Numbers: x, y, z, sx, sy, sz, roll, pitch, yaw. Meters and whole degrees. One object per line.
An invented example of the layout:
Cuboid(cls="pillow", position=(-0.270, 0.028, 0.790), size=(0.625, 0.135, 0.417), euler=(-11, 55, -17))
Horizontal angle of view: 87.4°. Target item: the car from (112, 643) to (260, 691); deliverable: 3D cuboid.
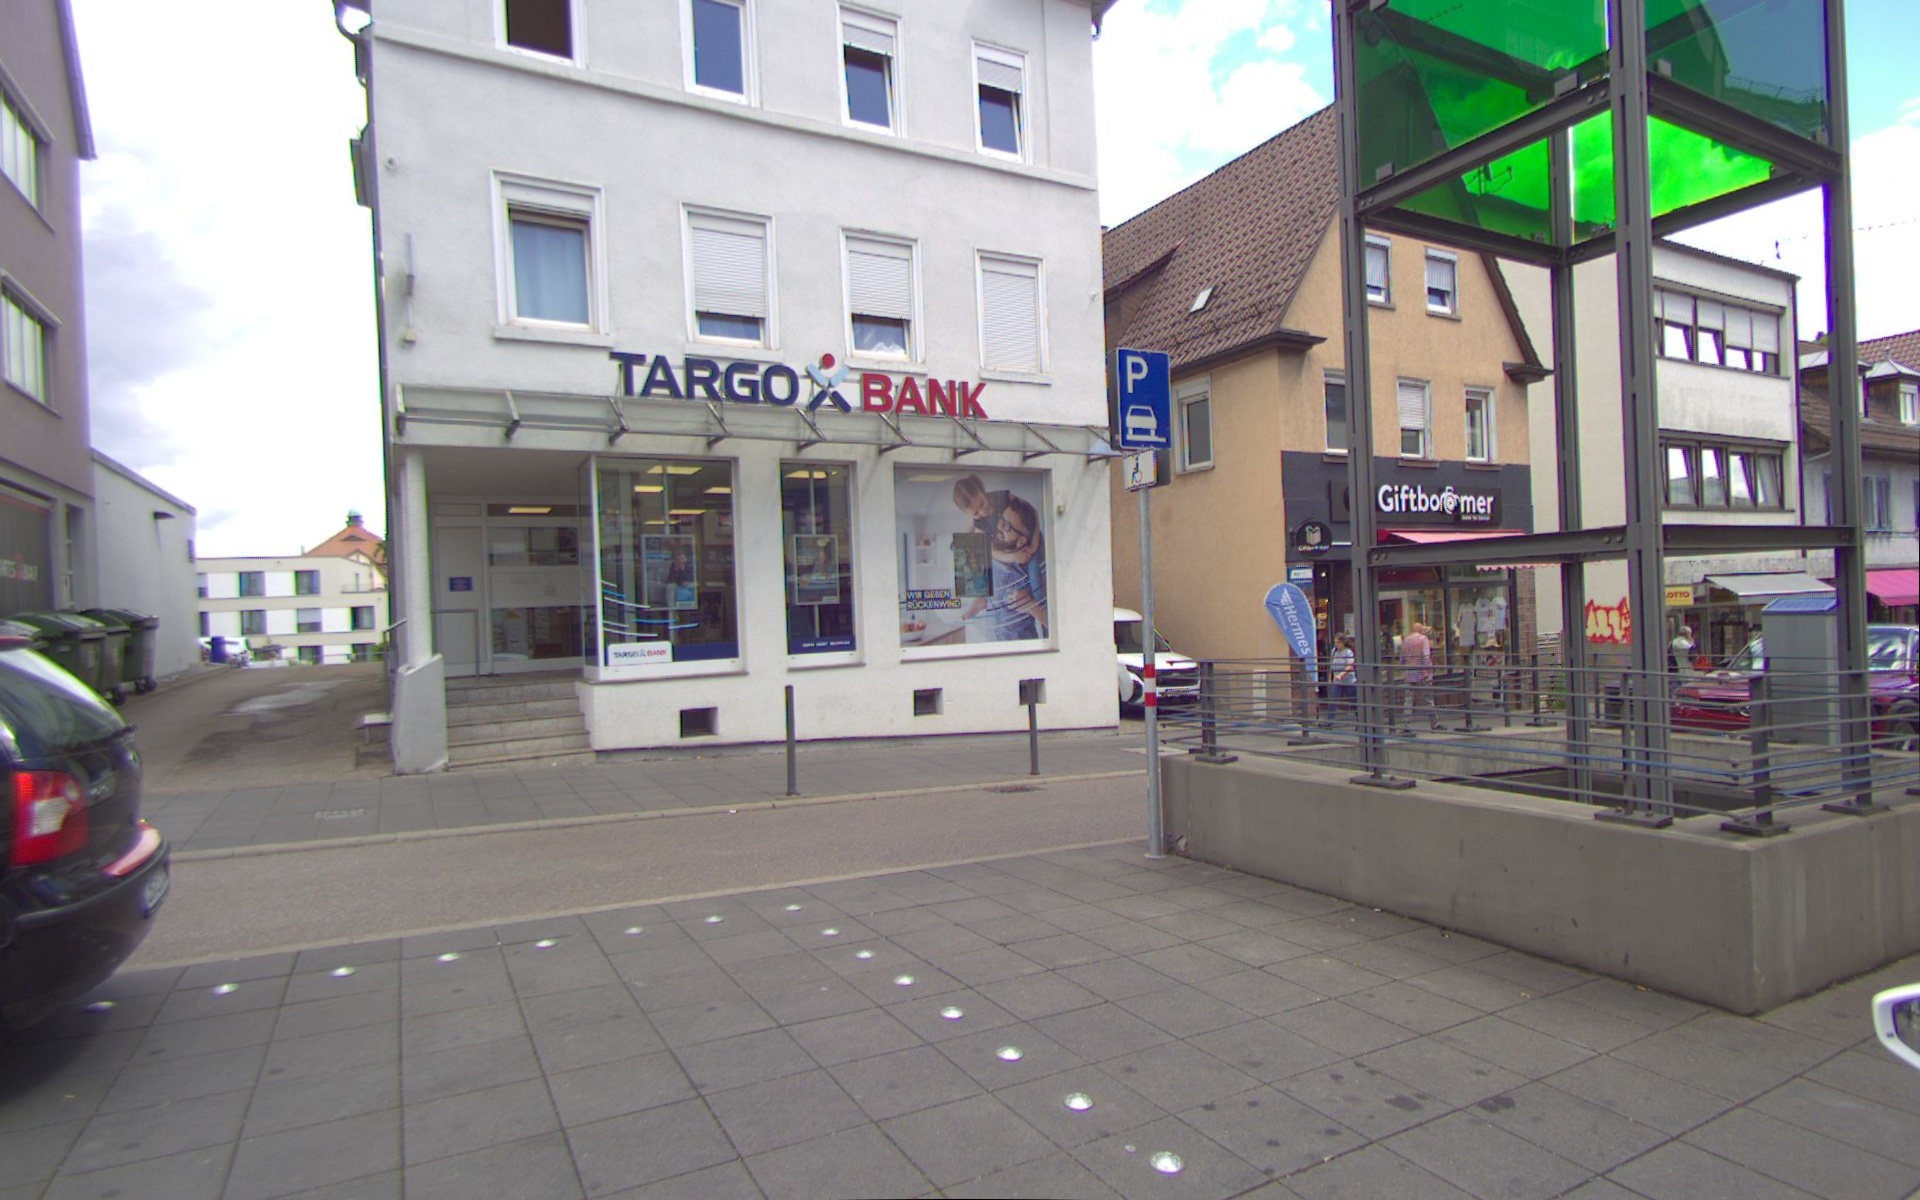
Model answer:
Cuboid(cls="car", position=(-29.162, 2.486, 38.008), size=(4.165, 1.630, 1.860), euler=(2, 0, -30))

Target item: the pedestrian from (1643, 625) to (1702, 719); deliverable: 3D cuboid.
Cuboid(cls="pedestrian", position=(13.339, 1.333, 18.816), size=(0.653, 1.711, 0.646), euler=(-1, -1, 10))

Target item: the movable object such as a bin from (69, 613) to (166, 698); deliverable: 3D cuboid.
Cuboid(cls="movable object such as a bin", position=(-14.440, 0.928, 17.264), size=(1.031, 1.394, 1.277), euler=(1, -1, -30))

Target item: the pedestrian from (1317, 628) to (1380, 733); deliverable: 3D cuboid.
Cuboid(cls="pedestrian", position=(6.098, 1.253, 15.763), size=(0.708, 1.594, 0.562), euler=(1, -3, -30))

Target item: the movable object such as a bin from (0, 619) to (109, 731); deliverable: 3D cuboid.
Cuboid(cls="movable object such as a bin", position=(-12.098, 0.954, 13.289), size=(1.031, 1.394, 1.277), euler=(1, -1, -30))

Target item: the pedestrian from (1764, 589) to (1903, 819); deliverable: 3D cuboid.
Cuboid(cls="pedestrian", position=(6.820, 0.774, 7.844), size=(0.889, 1.694, 0.531), euler=(0, -1, -27))

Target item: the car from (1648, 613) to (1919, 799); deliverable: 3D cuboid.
Cuboid(cls="car", position=(9.119, 0.964, 10.375), size=(4.144, 1.563, 1.730), euler=(2, 0, -31))

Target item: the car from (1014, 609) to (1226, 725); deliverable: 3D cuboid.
Cuboid(cls="car", position=(2.822, 1.130, 18.621), size=(1.859, 1.898, 4.055), euler=(1, -1, -27))

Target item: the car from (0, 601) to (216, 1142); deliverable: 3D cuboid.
Cuboid(cls="car", position=(-4.398, 0.753, 2.603), size=(3.814, 1.494, 1.560), euler=(2, -3, -33))

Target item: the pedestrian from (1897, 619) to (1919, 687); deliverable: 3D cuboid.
Cuboid(cls="pedestrian", position=(24.559, 1.351, 25.794), size=(0.570, 1.711, 0.575), euler=(1, -1, -30))

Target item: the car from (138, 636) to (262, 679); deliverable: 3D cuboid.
Cuboid(cls="car", position=(-31.877, 2.388, 42.269), size=(3.890, 1.630, 1.952), euler=(2, 0, -30))

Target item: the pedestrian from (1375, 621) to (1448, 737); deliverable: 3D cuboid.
Cuboid(cls="pedestrian", position=(6.919, 1.186, 15.400), size=(0.816, 1.711, 0.637), euler=(1, -1, -26))

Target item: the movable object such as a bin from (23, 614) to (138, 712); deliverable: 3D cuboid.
Cuboid(cls="movable object such as a bin", position=(-13.160, 0.908, 15.083), size=(1.031, 1.394, 1.277), euler=(1, -1, -30))

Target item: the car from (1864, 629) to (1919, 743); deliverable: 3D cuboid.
Cuboid(cls="car", position=(14.518, 1.194, 14.004), size=(3.837, 1.495, 1.731), euler=(2, 0, -30))

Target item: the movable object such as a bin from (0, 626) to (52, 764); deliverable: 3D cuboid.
Cuboid(cls="movable object such as a bin", position=(-10.603, 0.969, 10.492), size=(1.391, 1.394, 1.277), euler=(1, -1, -30))
